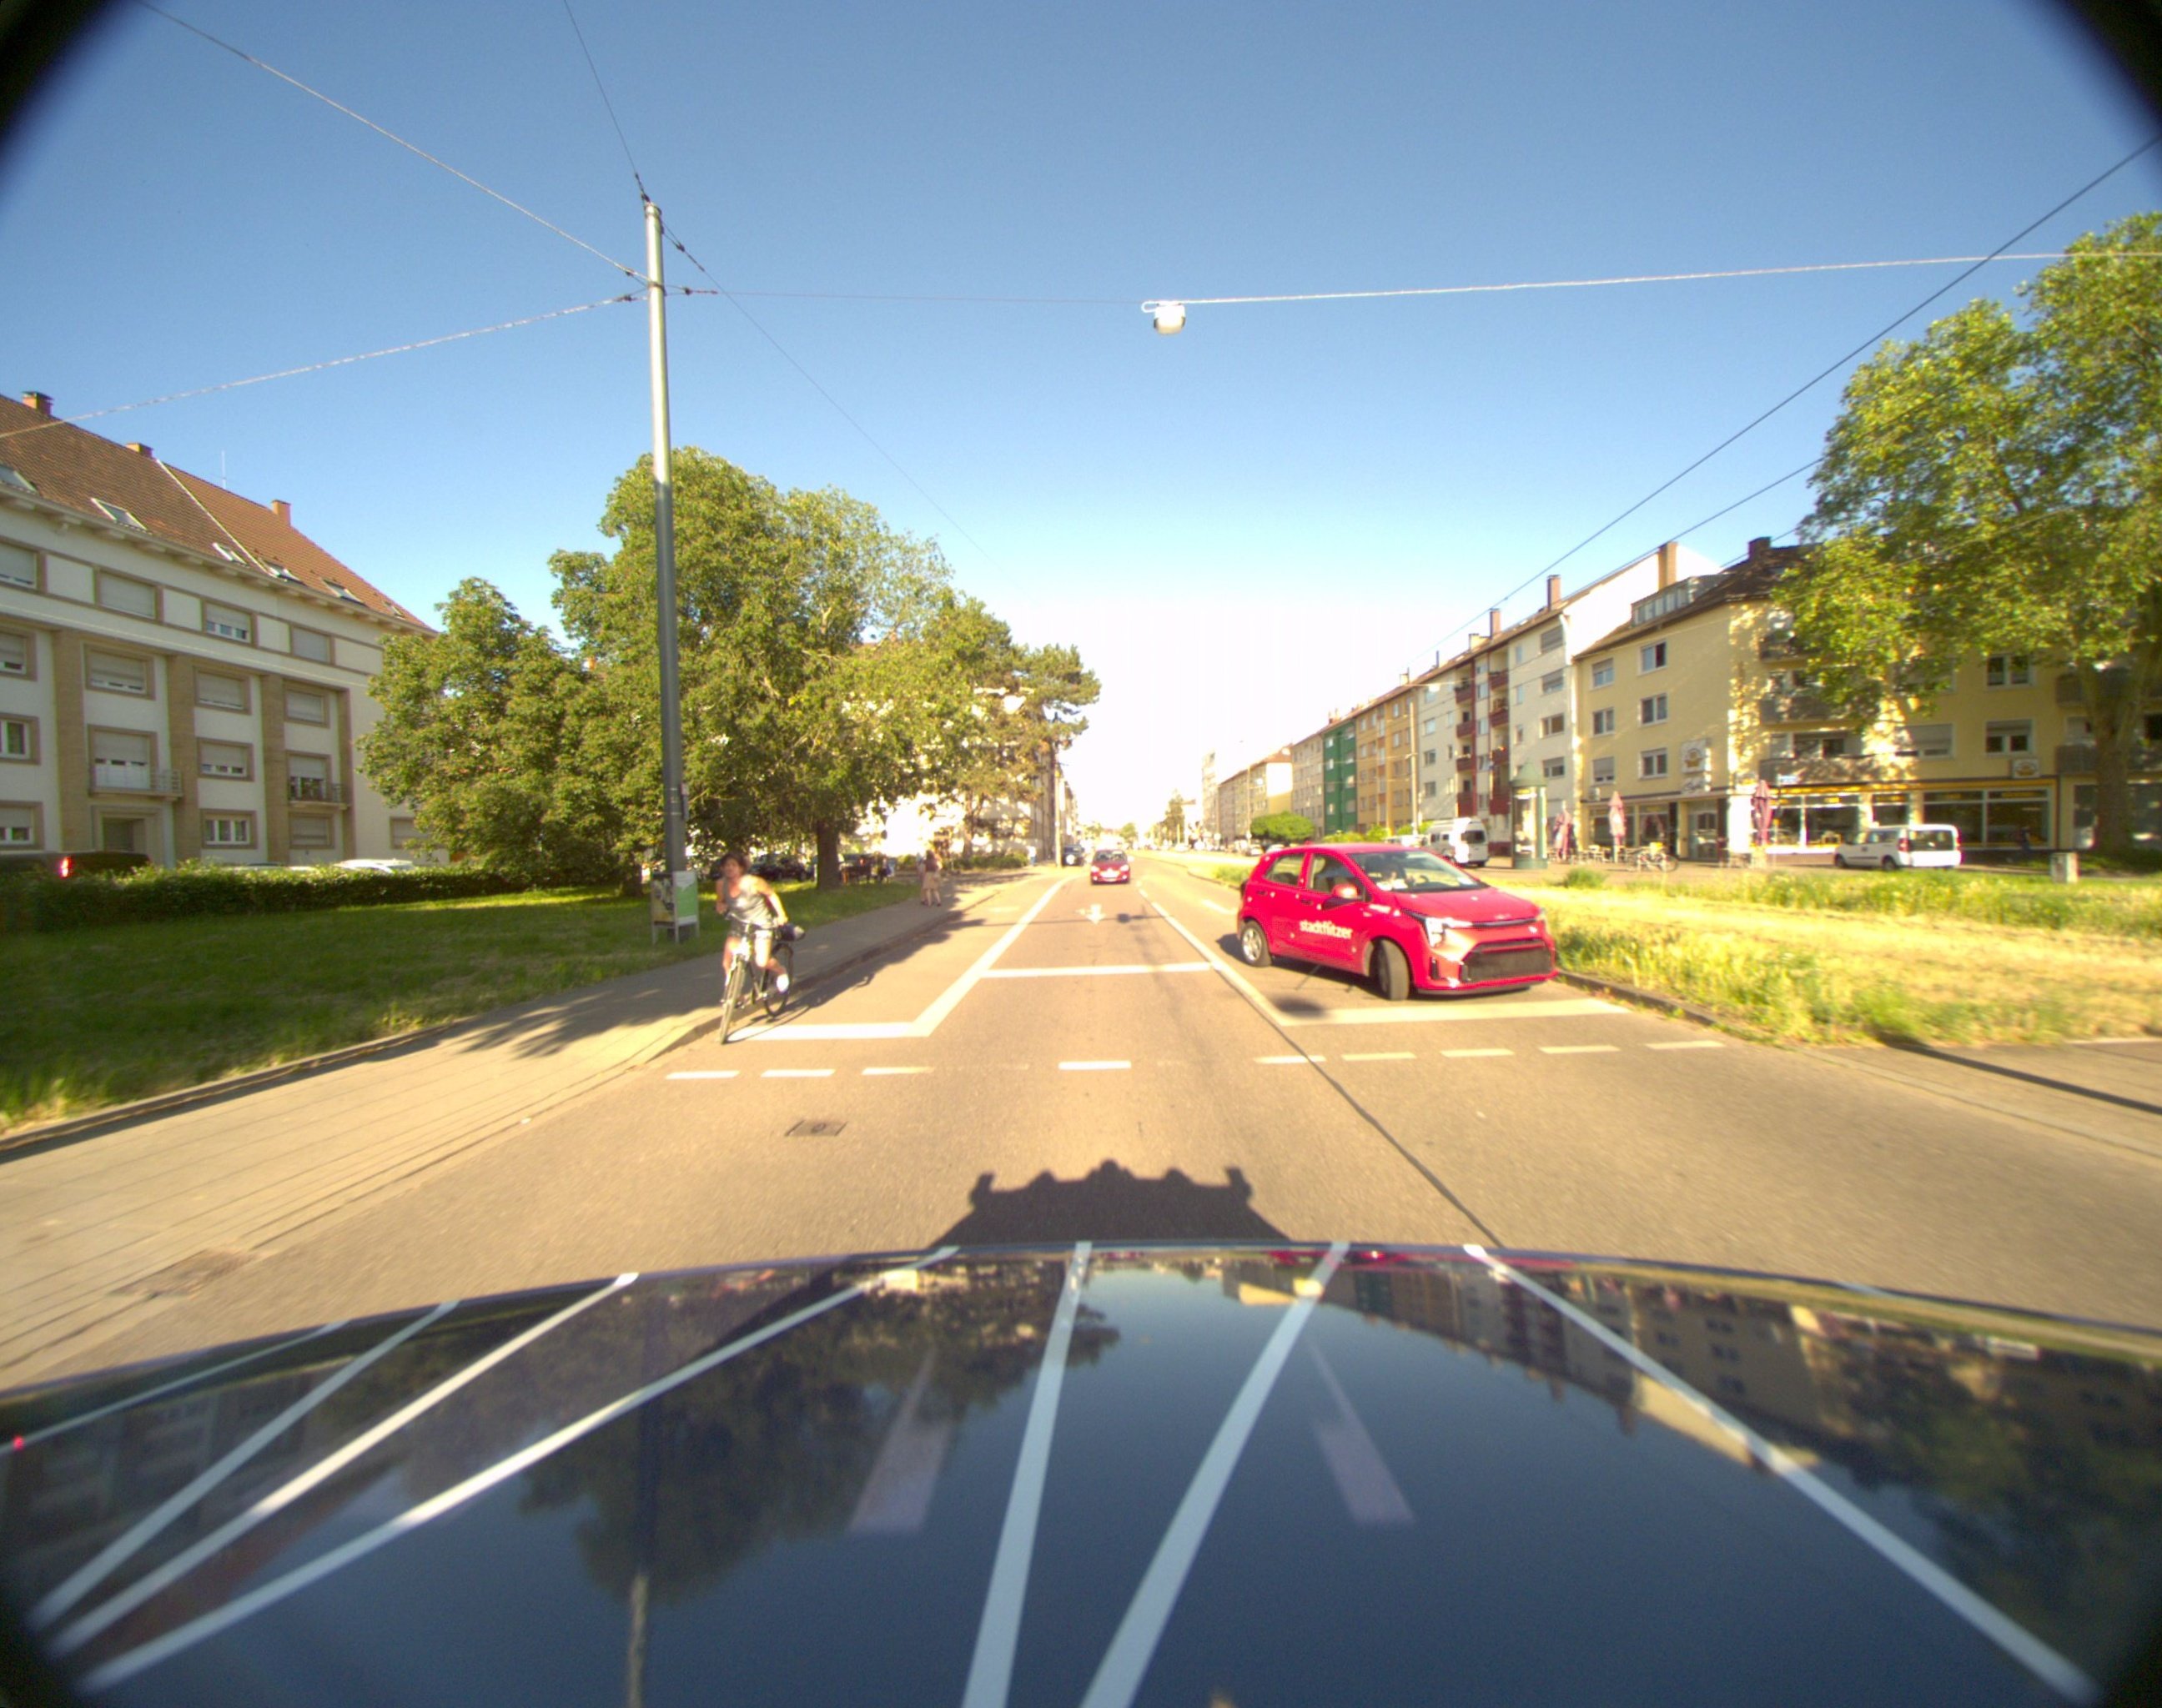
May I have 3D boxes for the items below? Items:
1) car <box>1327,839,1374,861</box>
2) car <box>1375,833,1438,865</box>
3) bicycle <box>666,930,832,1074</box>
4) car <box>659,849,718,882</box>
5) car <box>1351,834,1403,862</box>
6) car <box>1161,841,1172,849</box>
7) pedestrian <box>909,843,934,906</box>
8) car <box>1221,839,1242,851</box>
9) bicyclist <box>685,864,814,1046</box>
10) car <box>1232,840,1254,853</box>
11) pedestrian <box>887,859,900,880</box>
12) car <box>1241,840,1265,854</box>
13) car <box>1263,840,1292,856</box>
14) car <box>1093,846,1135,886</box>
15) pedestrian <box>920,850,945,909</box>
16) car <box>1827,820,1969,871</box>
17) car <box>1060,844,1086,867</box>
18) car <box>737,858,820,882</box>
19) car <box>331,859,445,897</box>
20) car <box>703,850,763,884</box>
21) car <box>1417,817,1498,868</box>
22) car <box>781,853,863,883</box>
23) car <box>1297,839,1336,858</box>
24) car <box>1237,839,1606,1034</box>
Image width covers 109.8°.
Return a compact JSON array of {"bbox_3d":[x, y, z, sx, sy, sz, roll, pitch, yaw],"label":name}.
[{"bbox_3d":[22.397,-0.382,63.352,2.144,1.697,5.157,-1,1,1],"label":"car"},{"bbox_3d":[22.103,-0.358,51.805,2.144,2.022,5.157,-1,1,1],"label":"car"},{"bbox_3d":[-2.891,1.247,6.830,0.684,0.925,1.736,-2,1,0],"label":"bicycle"},{"bbox_3d":[-21.685,0.585,42.112,2.001,1.689,4.271,-2,1,-15],"label":"car"},{"bbox_3d":[22.321,-0.456,57.538,2.144,2.022,4.864,-1,1,1],"label":"car"},{"bbox_3d":[21.070,-2.205,187.045,2.144,1.697,5.402,-1,1,1],"label":"car"},{"bbox_3d":[-4.357,0.546,20.694,0.567,1.688,0.595,-2,1,-17],"label":"pedestrian"},{"bbox_3d":[23.157,-1.373,117.139,2.144,1.697,5.402,-1,1,1],"label":"car"},{"bbox_3d":[-2.900,0.842,6.735,0.678,1.466,0.936,-1,1,1],"label":"bicyclist"},{"bbox_3d":[23.110,-1.067,108.735,2.144,1.697,5.402,-1,1,1],"label":"car"},{"bbox_3d":[-9.558,0.779,38.702,0.459,1.072,0.613,-1,1,1],"label":"pedestrian"},{"bbox_3d":[23.094,-0.947,102.109,2.144,1.697,5.402,-1,1,1],"label":"car"},{"bbox_3d":[22.897,-0.738,88.803,2.144,1.697,5.445,-1,1,1],"label":"car"},{"bbox_3d":[1.377,0.466,32.239,1.619,1.537,4.277,-1,1,2],"label":"car"},{"bbox_3d":[-3.932,0.671,20.120,0.596,1.518,0.633,-1,1,-9],"label":"pedestrian"},{"bbox_3d":[32.174,-0.347,30.100,1.909,1.871,4.003,-1,1,13],"label":"car"},{"bbox_3d":[-0.662,0.129,64.620,1.998,1.806,3.999,-2,1,1],"label":"car"},{"bbox_3d":[-15.559,0.807,39.323,1.997,1.060,4.280,-1,1,11],"label":"car"},{"bbox_3d":[-34.482,1.153,37.959,1.905,1.680,4.084,-1,1,-1],"label":"car"},{"bbox_3d":[-18.703,0.657,41.058,2.000,1.689,4.272,-2,1,-12],"label":"car"},{"bbox_3d":[21.915,-0.669,44.516,2.230,2.808,5.228,-1,1,1],"label":"car"},{"bbox_3d":[-12.941,0.655,38.267,1.997,1.316,4.280,-1,1,11],"label":"car"},{"bbox_3d":[22.646,-0.563,73.314,2.144,1.697,5.445,-1,1,1],"label":"car"},{"bbox_3d":[3.320,0.666,8.178,1.545,1.522,3.597,-4,2,-19],"label":"car"}]
